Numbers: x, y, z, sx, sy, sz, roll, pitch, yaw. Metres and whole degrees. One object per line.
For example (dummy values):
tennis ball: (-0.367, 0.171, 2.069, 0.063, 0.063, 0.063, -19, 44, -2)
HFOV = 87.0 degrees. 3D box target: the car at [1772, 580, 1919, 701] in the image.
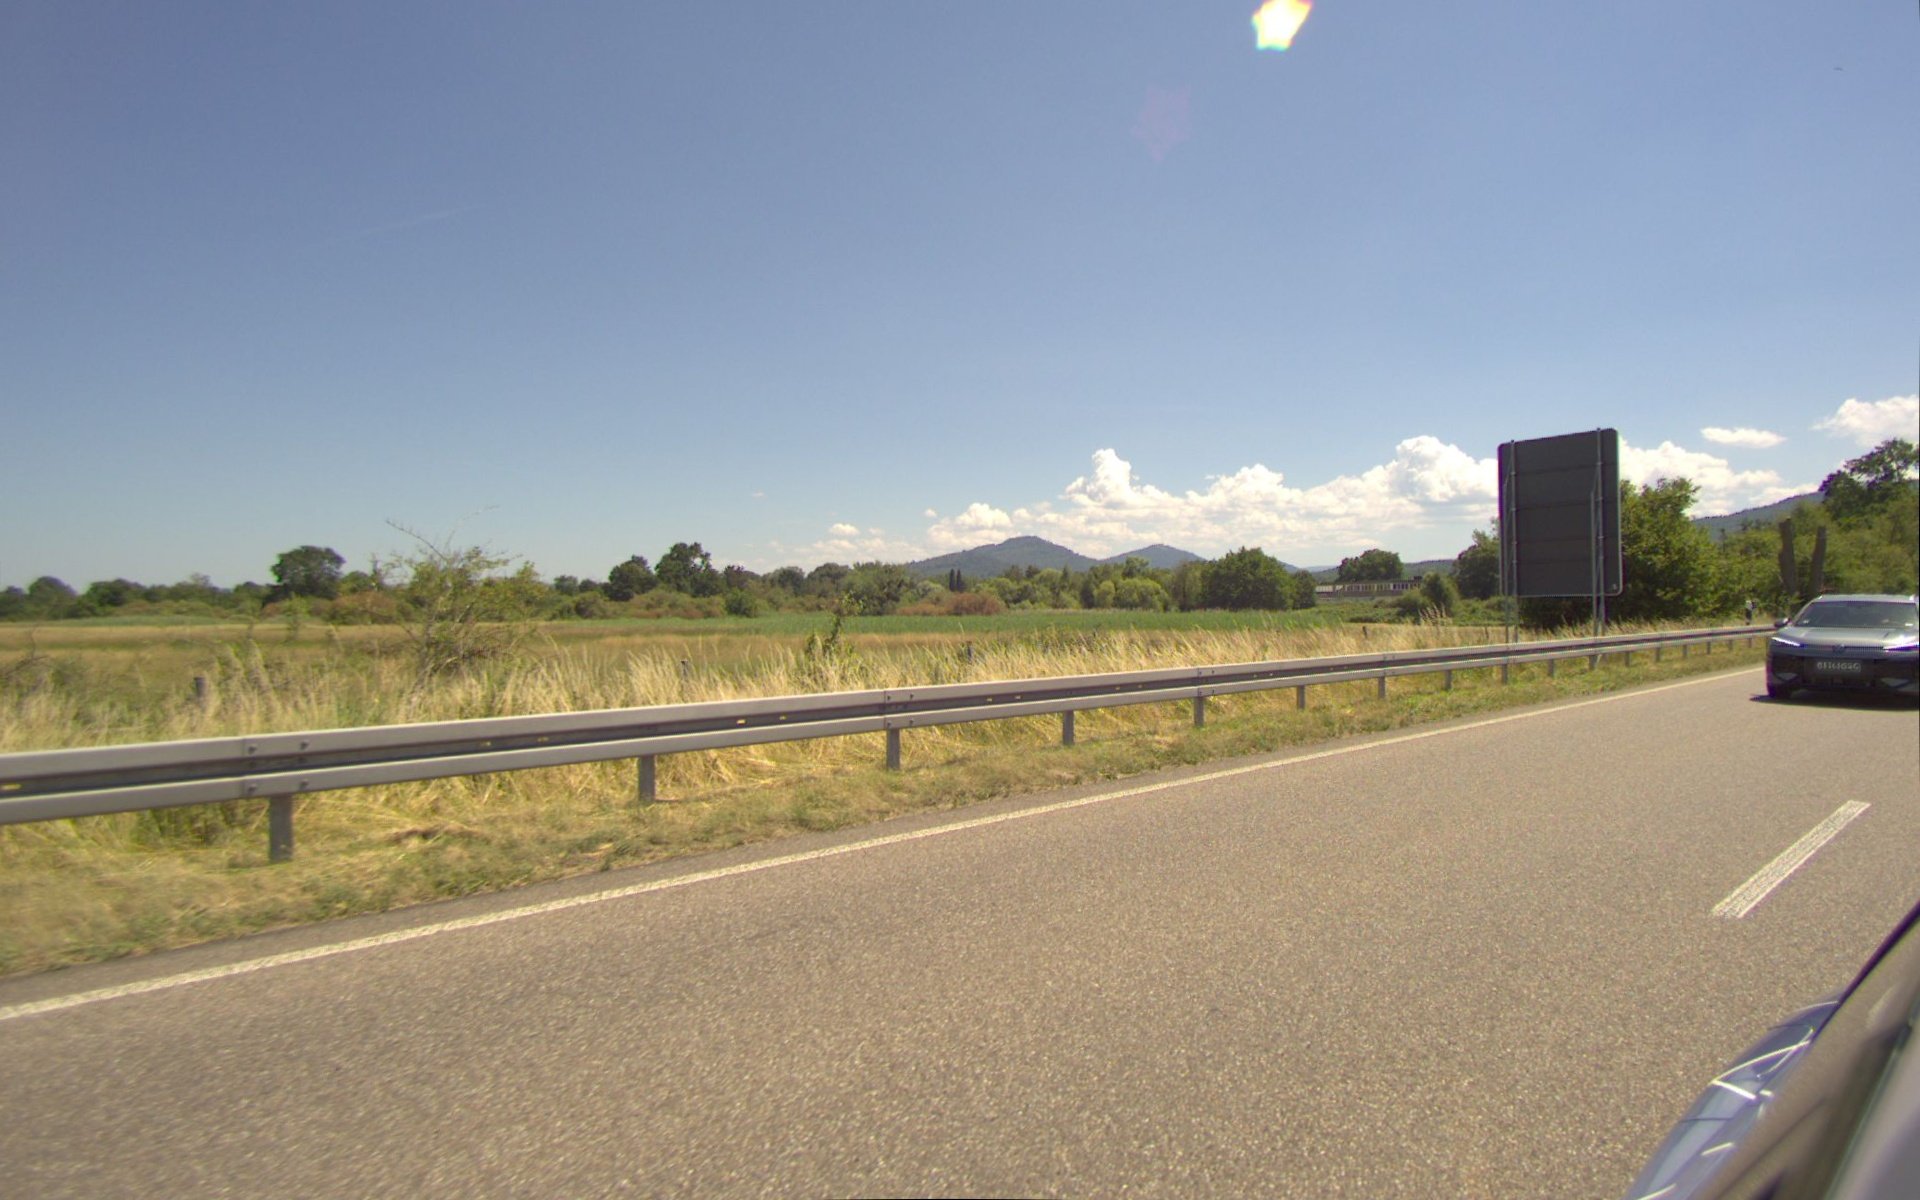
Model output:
car: (13.574, 0.524, 14.951, 3.949, 1.573, 1.788, 0, 1, -41)
